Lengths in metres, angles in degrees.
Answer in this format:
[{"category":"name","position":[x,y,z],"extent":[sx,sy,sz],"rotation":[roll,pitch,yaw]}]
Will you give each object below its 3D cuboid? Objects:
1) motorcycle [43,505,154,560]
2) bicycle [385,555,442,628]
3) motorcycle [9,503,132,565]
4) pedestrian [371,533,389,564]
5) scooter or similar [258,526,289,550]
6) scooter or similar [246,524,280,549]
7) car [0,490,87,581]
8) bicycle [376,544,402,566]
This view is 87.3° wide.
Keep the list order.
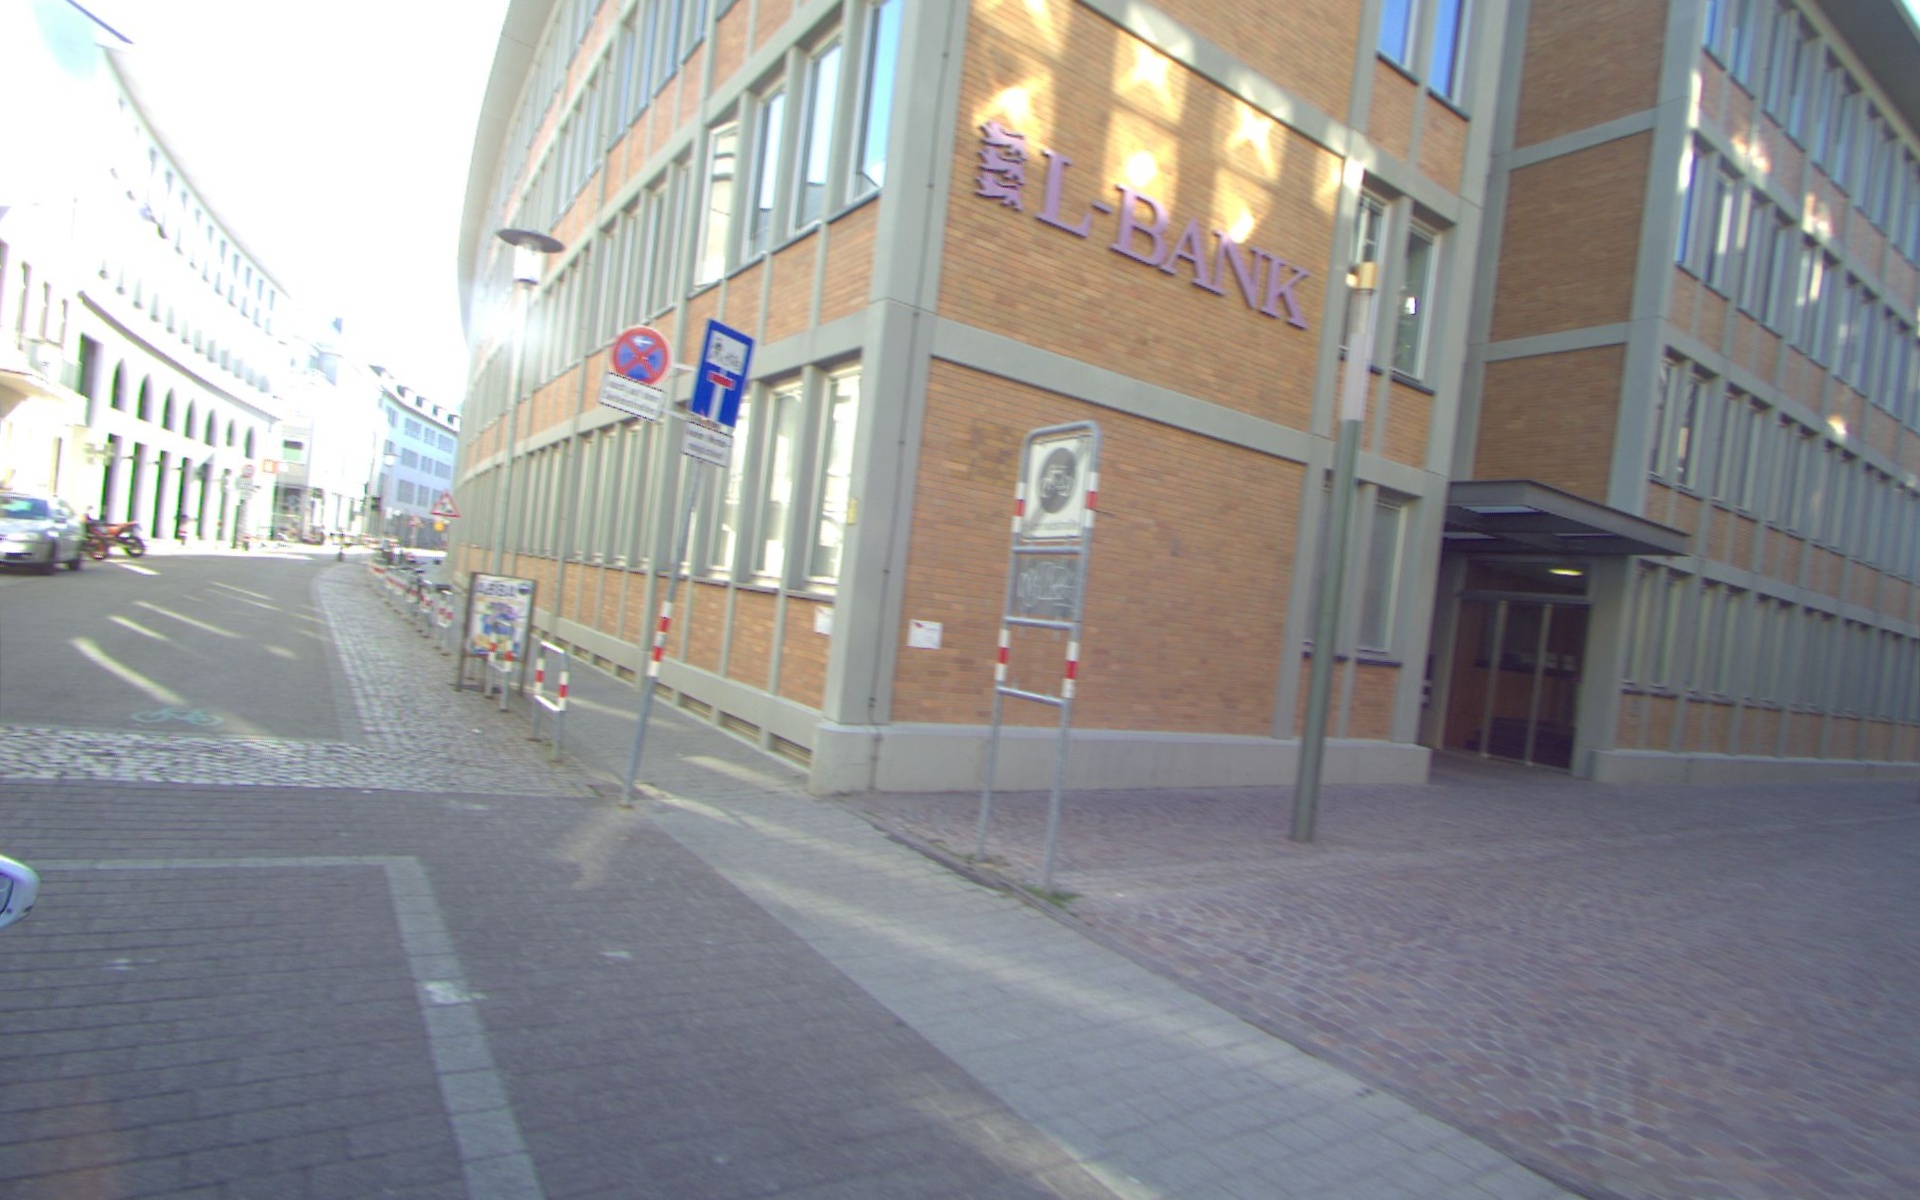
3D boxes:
[{"category":"motorcycle","position":[-23.812,-1.853,27.840],"extent":[2.252,1.261,0.572],"rotation":[6,2,-14]},{"category":"bicycle","position":[-9.786,-0.170,17.988],"extent":[0.632,1.130,1.912],"rotation":[6,1,-34]},{"category":"motorcycle","position":[-21.686,-1.591,24.558],"extent":[2.177,1.261,0.572],"rotation":[5,2,-14]},{"category":"pedestrian","position":[-29.161,-2.588,50.565],"extent":[0.652,1.459,0.590],"rotation":[6,1,-32]},{"category":"scooter or similar","position":[-39.801,-3.584,58.316],"extent":[1.922,1.212,0.532],"rotation":[5,1,24]},{"category":"scooter or similar","position":[-37.522,-3.409,54.166],"extent":[1.922,1.212,0.532],"rotation":[5,1,24]},{"category":"car","position":[-17.626,-1.263,18.537],"extent":[1.752,1.490,3.779],"rotation":[4,2,-33]},{"category":"bicycle","position":[-31.723,-2.526,55.890],"extent":[0.919,1.061,3.345],"rotation":[6,0,-26]}]
